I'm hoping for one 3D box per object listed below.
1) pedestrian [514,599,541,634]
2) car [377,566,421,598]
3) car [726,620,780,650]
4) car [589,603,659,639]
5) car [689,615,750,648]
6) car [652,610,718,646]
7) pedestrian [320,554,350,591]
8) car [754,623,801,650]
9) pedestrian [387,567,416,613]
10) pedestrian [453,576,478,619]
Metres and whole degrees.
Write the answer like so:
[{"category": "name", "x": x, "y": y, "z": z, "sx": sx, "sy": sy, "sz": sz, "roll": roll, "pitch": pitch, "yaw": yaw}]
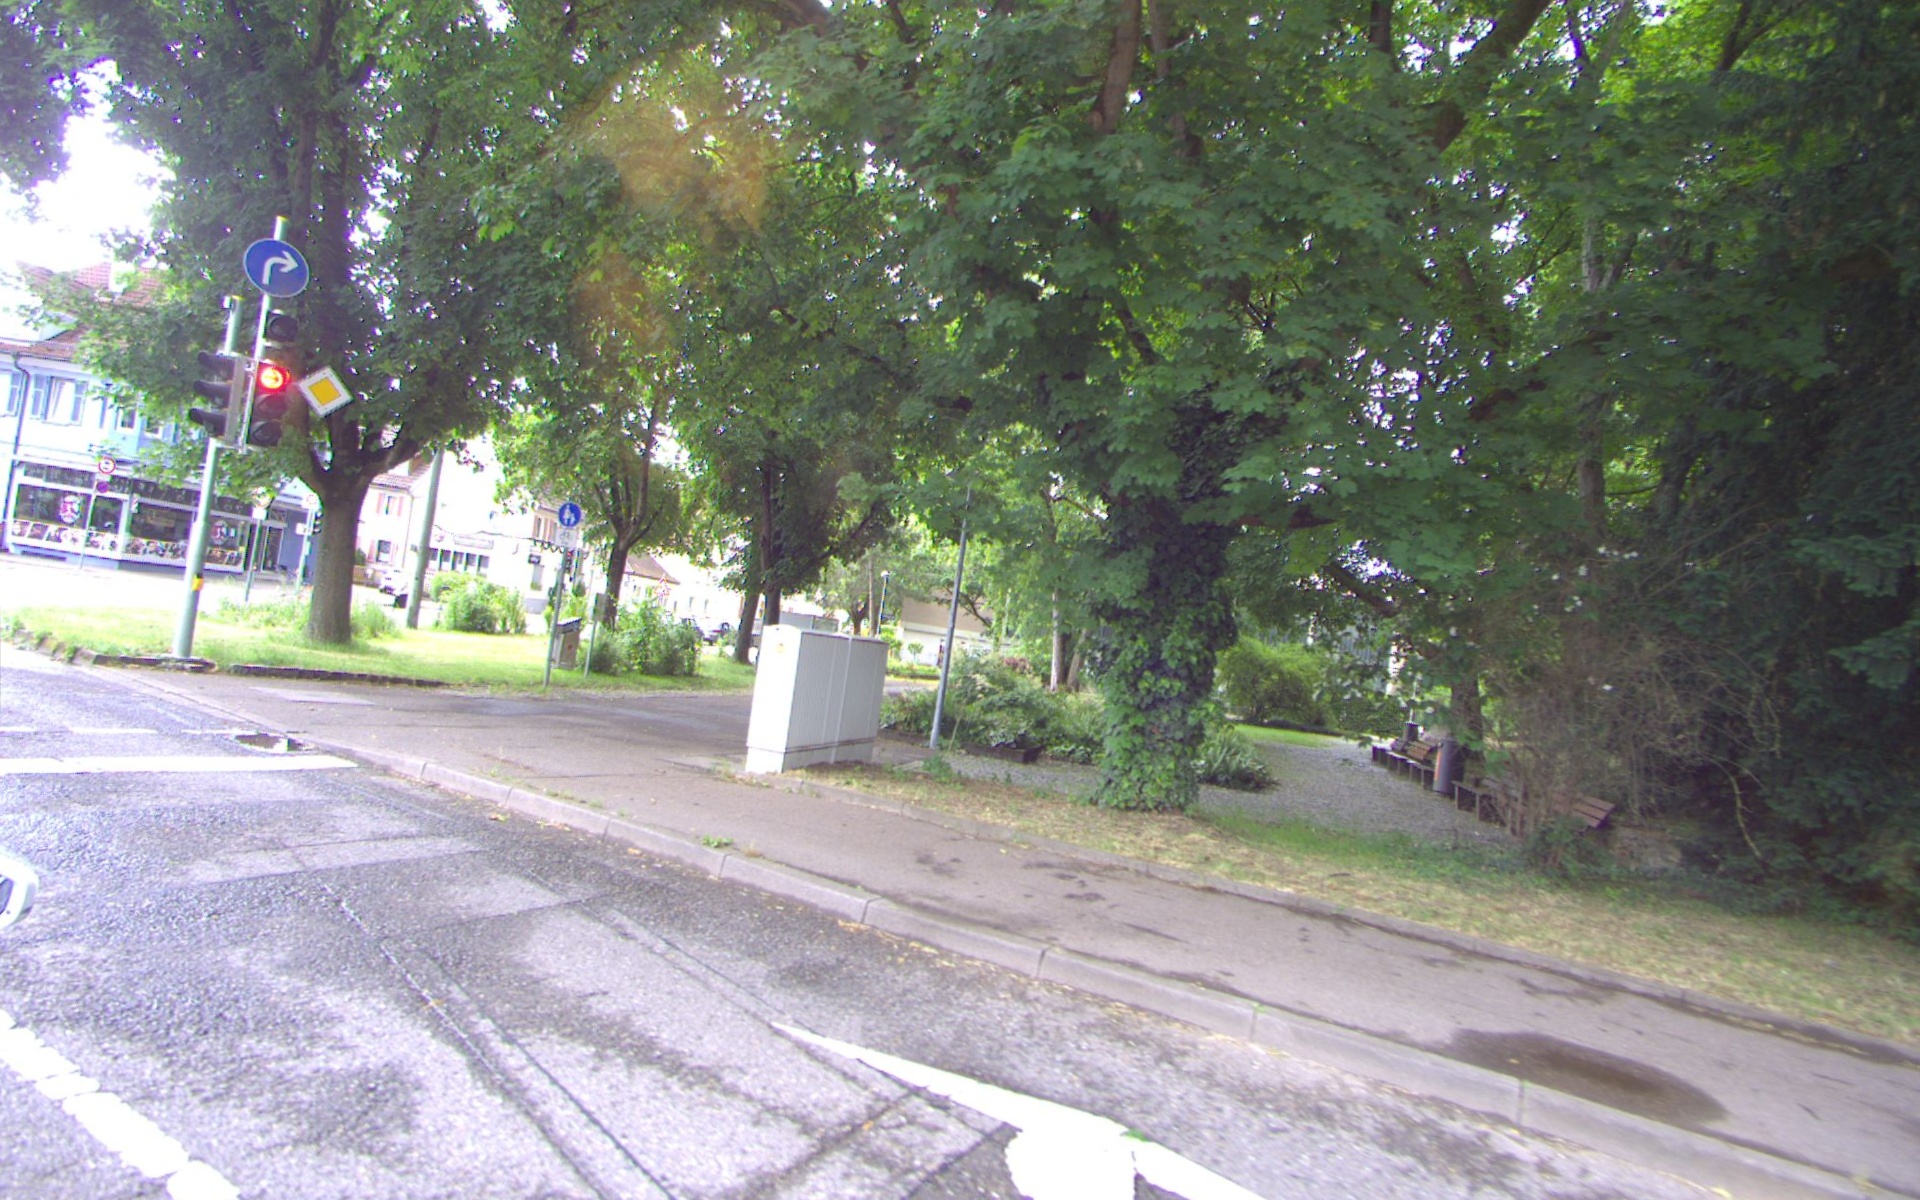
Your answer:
[{"category": "pedestrian", "x": -14.335, "y": 0.543, "z": 33.352, "sx": 0.506, "sy": 1.093, "sz": 0.507, "roll": 7, "pitch": -1, "yaw": 17}, {"category": "car", "x": -29.766, "y": -0.967, "z": 53.418, "sx": 1.871, "sy": 1.406, "sz": 3.589, "roll": 9, "pitch": -2, "yaw": -29}, {"category": "car", "x": -12.376, "y": 2.104, "z": 60.375, "sx": 1.618, "sy": 1.474, "sz": 3.740, "roll": 7, "pitch": -2, "yaw": 13}, {"category": "car", "x": -14.807, "y": 0.969, "z": 44.475, "sx": 1.436, "sy": 1.282, "sz": 3.014, "roll": 7, "pitch": -2, "yaw": 13}, {"category": "car", "x": -13.181, "y": 1.785, "z": 55.391, "sx": 1.618, "sy": 1.474, "sz": 3.740, "roll": 7, "pitch": -2, "yaw": 13}, {"category": "car", "x": -13.819, "y": 1.416, "z": 50.650, "sx": 1.618, "sy": 1.474, "sz": 3.478, "roll": 7, "pitch": -2, "yaw": 13}, {"category": "pedestrian", "x": -28.329, "y": -1.245, "z": 45.589, "sx": 0.732, "sy": 1.578, "sz": 0.673, "roll": 7, "pitch": -1, "yaw": 17}, {"category": "car", "x": -12.020, "y": 2.414, "z": 66.510, "sx": 1.618, "sy": 1.474, "sz": 3.740, "roll": 7, "pitch": -2, "yaw": 13}, {"category": "pedestrian", "x": -20.501, "y": -0.356, "z": 36.918, "sx": 0.725, "sy": 1.578, "sz": 0.763, "roll": 8, "pitch": -1, "yaw": -28}, {"category": "pedestrian", "x": -19.193, "y": -0.106, "z": 39.060, "sx": 0.688, "sy": 1.578, "sz": 0.662, "roll": 8, "pitch": -1, "yaw": -28}]
